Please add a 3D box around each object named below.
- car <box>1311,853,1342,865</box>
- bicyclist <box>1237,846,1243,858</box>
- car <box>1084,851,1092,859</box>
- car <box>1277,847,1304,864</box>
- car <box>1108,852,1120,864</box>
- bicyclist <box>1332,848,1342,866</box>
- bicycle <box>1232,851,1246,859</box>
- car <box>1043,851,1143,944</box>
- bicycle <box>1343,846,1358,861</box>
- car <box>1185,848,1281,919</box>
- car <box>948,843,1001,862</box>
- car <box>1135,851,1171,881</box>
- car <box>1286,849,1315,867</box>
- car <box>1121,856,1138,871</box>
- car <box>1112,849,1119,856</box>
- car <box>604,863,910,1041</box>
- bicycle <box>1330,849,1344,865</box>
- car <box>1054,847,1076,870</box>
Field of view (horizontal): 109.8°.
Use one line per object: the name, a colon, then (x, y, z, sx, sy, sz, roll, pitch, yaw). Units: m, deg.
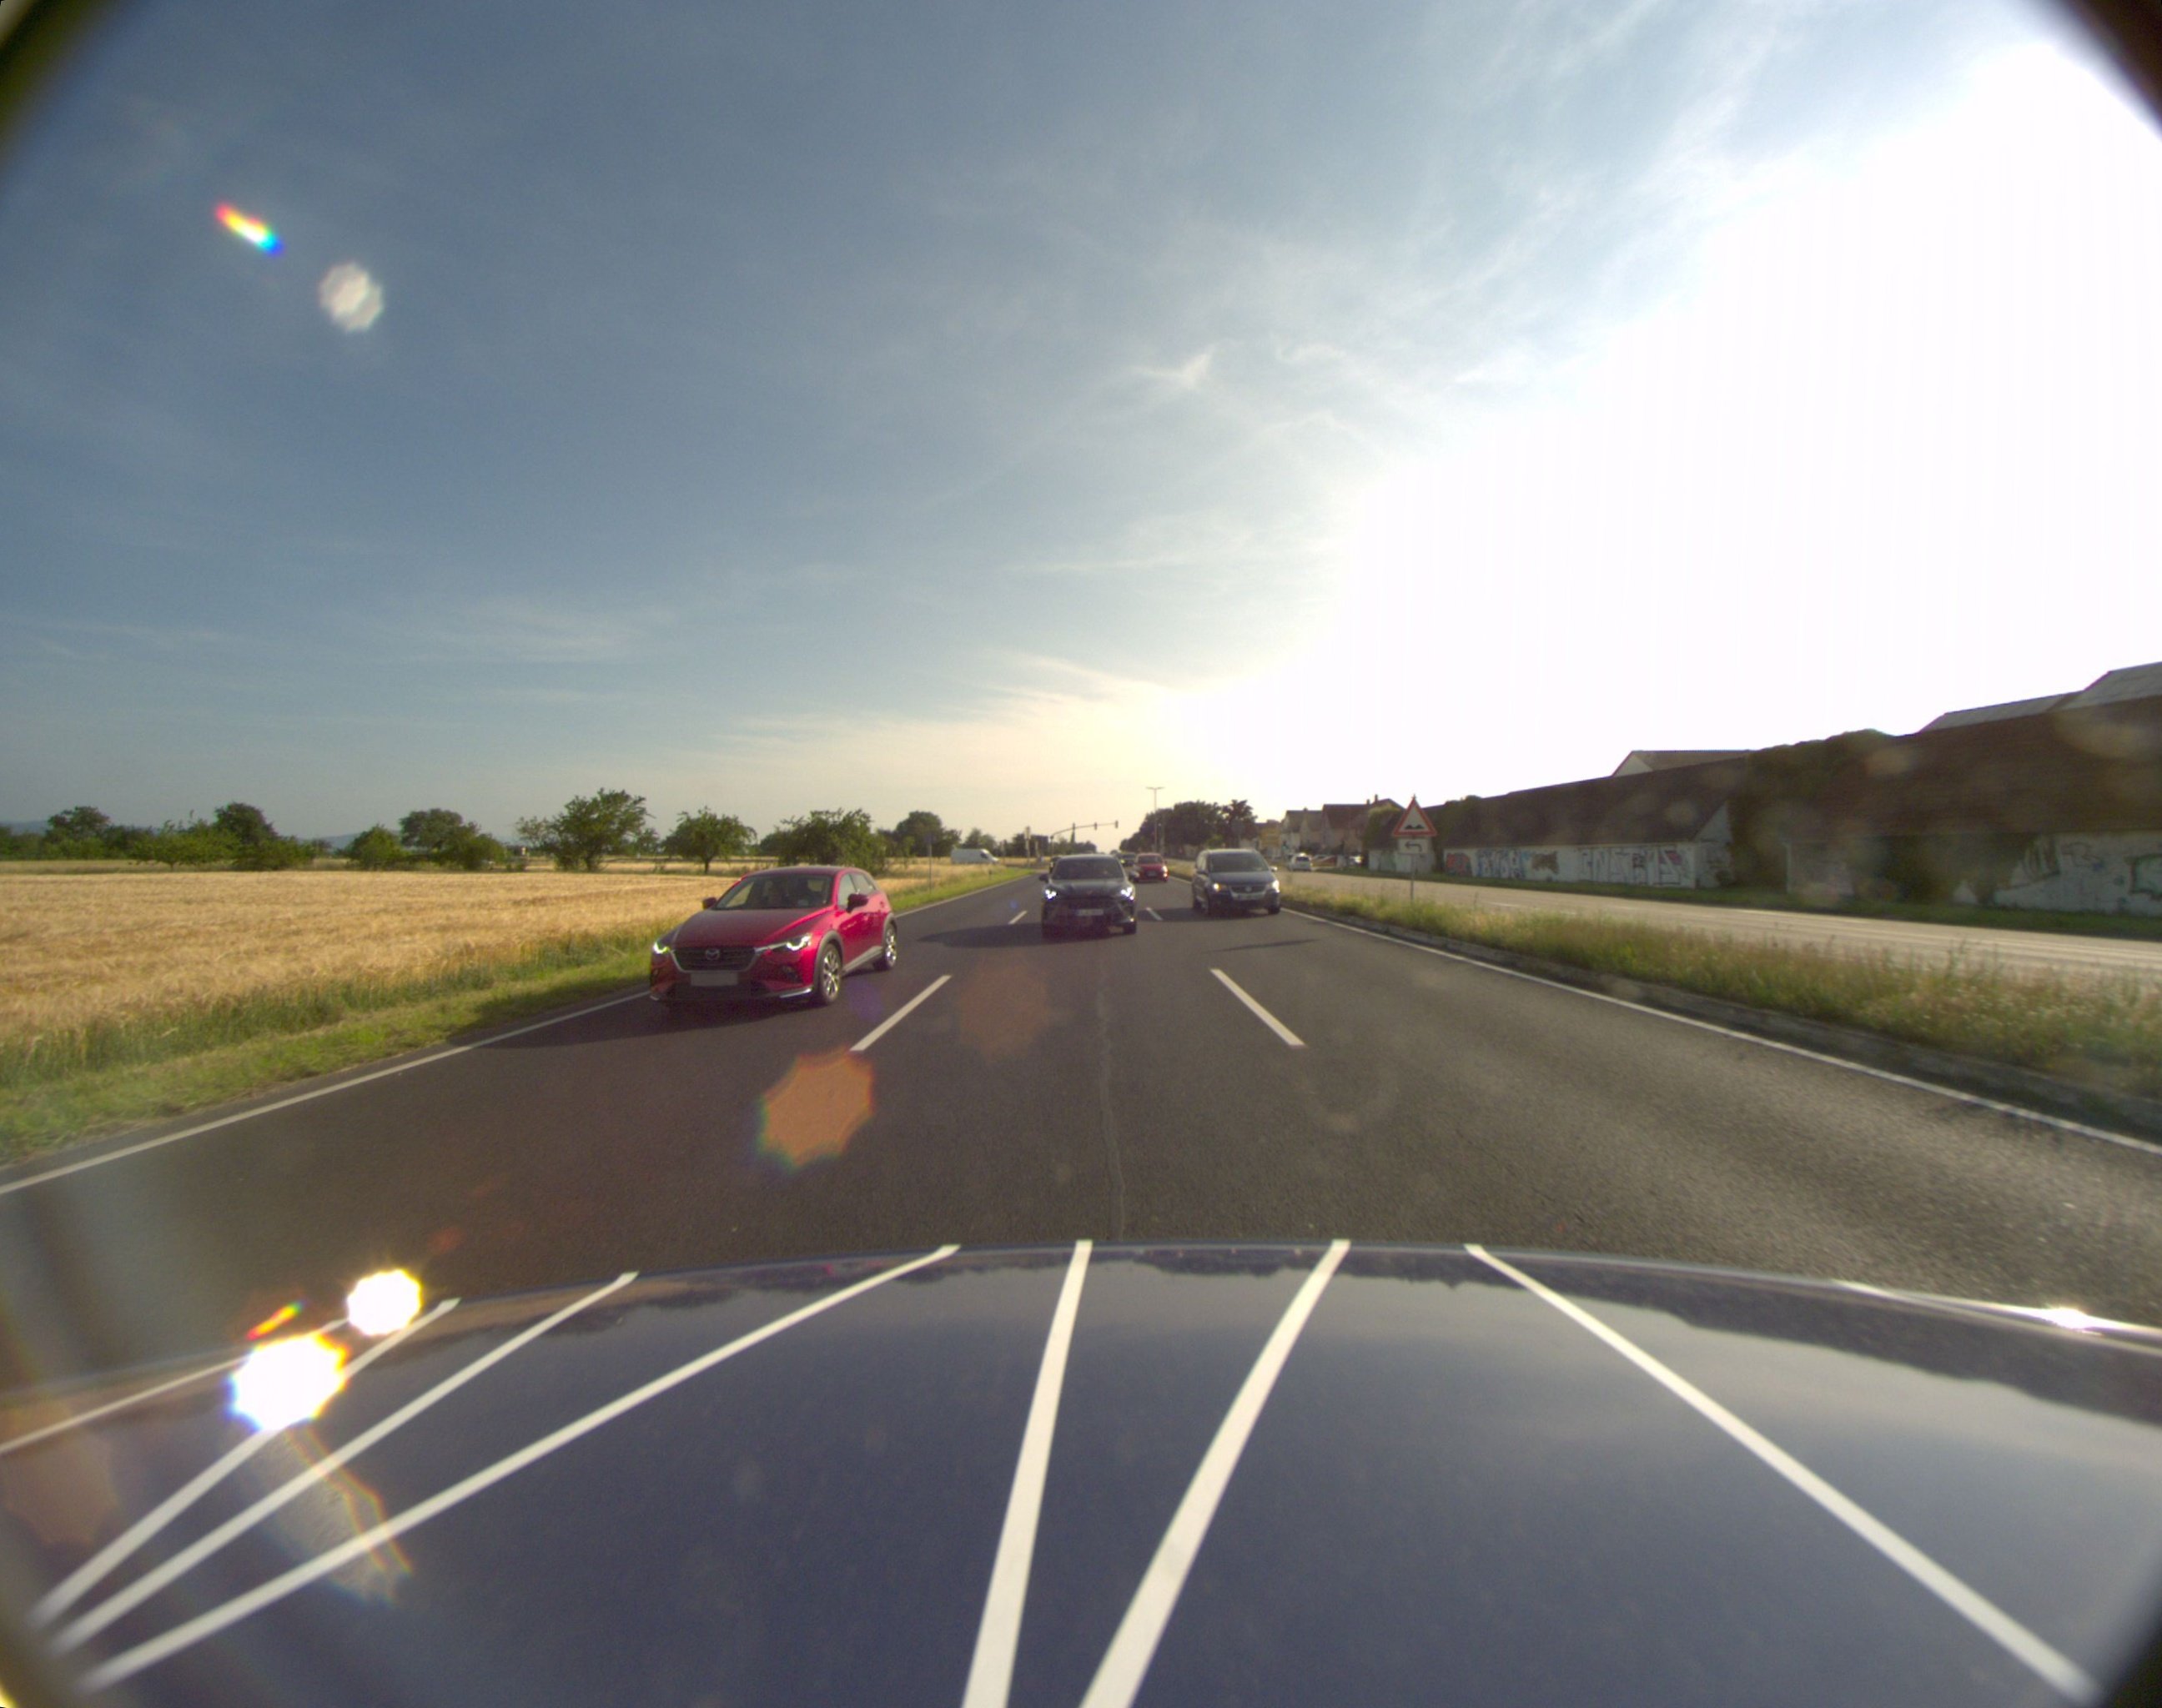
car: (36.361, 0.703, 112.527, 3.996, 1.554, 1.758, 2, 1, 2)
bicyclist: (25.128, -0.315, 120.307, 0.856, 1.777, 0.847, 2, 2, 10)
car: (1.792, 0.273, 195.647, 1.999, 2.002, 3.999, -2, 1, -1)
car: (24.520, 0.137, 89.128, 1.911, 1.917, 5.454, 2, 1, 4)
car: (6.008, 0.675, 138.608, 1.999, 2.002, 3.999, -2, 1, -1)
bicyclist: (29.723, 0.311, 88.377, 0.772, 2.002, 1.062, -2, 1, 1)
bicycle: (25.070, 0.154, 120.333, 2.159, 1.185, 0.904, 1, 2, 10)
car: (0.297, 0.800, 16.080, 1.791, 1.594, 4.339, -2, 1, 2)
bicycle: (31.116, -0.078, 87.779, 0.755, 1.739, 2.607, -2, 1, 2)
car: (3.888, 0.680, 20.174, 1.777, 1.612, 4.682, -1, 1, 2)
car: (-15.025, -0.165, 107.327, 7.201, 2.654, 2.094, 0, 2, 15)
car: (3.989, 0.640, 42.780, 1.748, 1.537, 4.000, -2, 1, 2)
car: (22.235, 0.396, 77.026, 1.840, 1.697, 4.758, 2, 1, 5)
car: (5.273, 1.013, 83.561, 1.718, 1.521, 4.000, -2, 1, 2)
car: (11.391, -0.458, 251.193, 1.998, 2.002, 4.000, -2, 1, 2)
car: (-3.531, 0.946, 9.354, 1.708, 1.497, 4.500, -2, 1, 1)
bicycle: (29.723, 0.318, 88.325, 0.755, 1.739, 2.607, -2, 1, 2)
car: (-1.489, 0.390, 71.419, 1.999, 2.002, 3.999, -2, 1, -1)
